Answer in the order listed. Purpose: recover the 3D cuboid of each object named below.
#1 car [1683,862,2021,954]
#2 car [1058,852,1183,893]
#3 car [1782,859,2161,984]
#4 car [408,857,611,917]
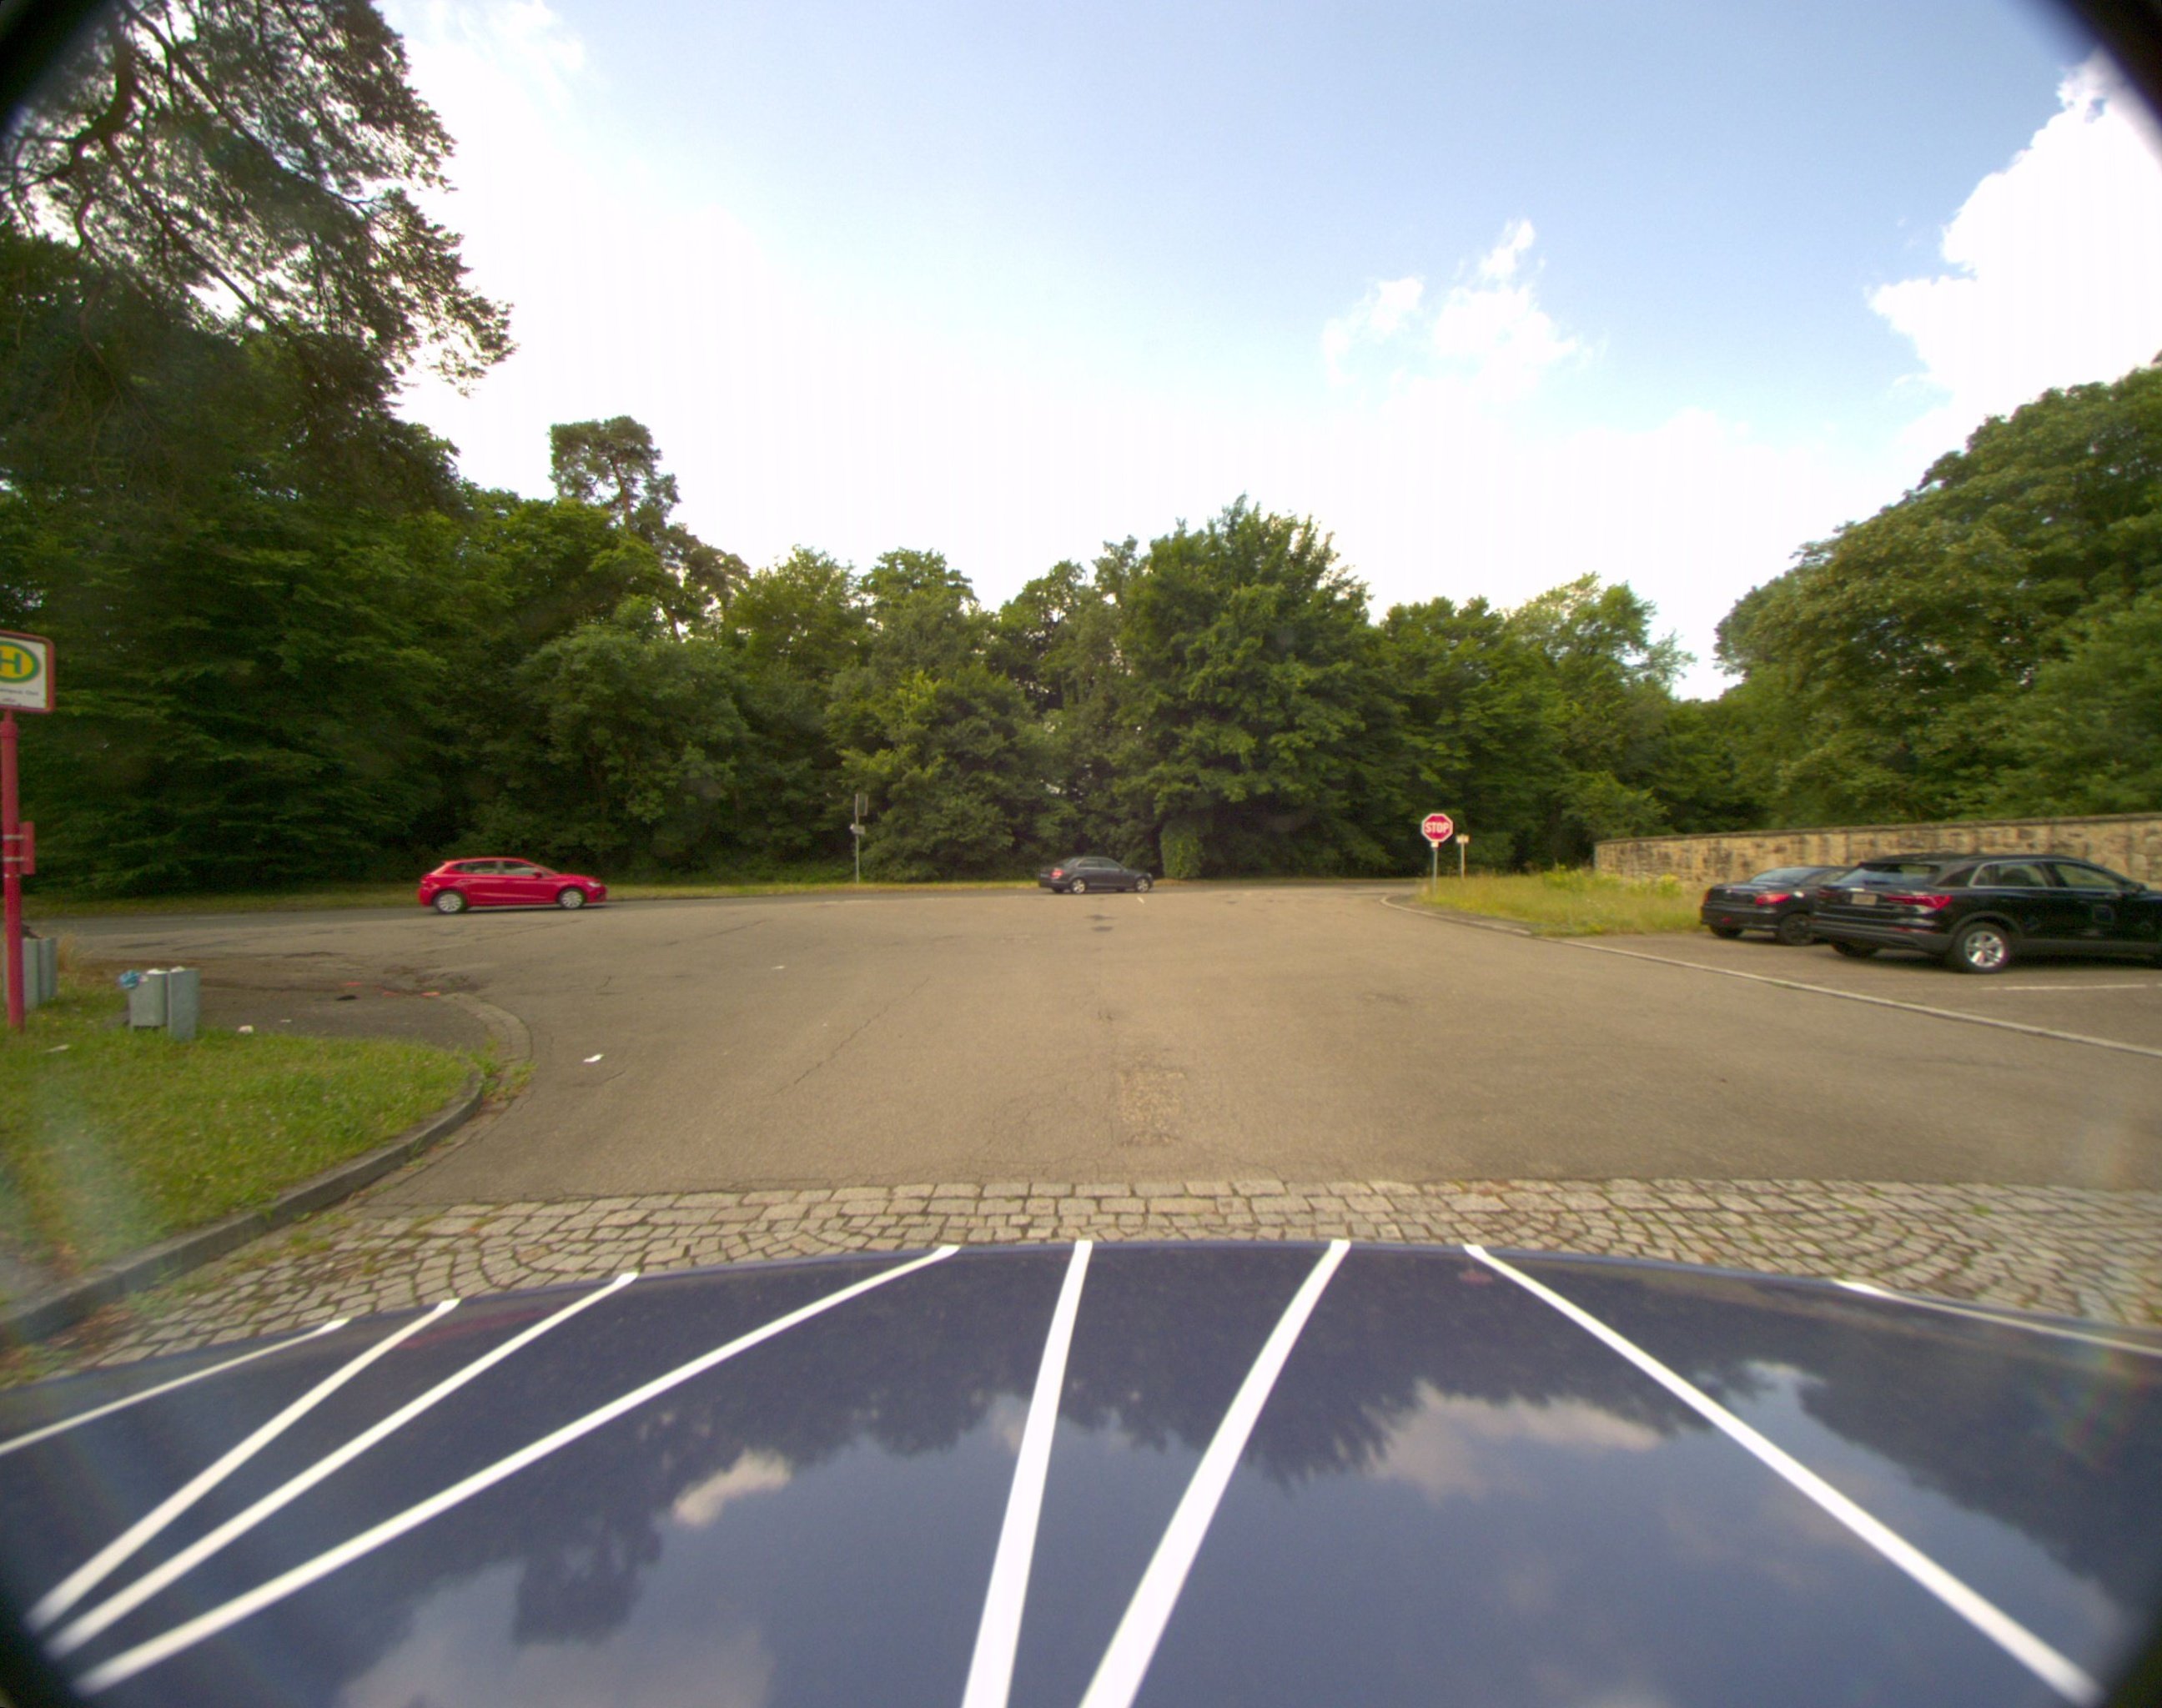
[{"bbox_3d":[13.544,0.917,13.588,3.996,1.433,1.880,-1,0,4],"label":"car"},{"bbox_3d":[1.567,0.692,29.747,4.536,1.455,1.962,-1,0,-28],"label":"car"},{"bbox_3d":[12.920,0.899,10.823,3.996,1.537,1.900,-1,0,3],"label":"car"},{"bbox_3d":[-15.185,0.816,20.532,4.211,1.455,1.995,0,0,-31],"label":"car"}]
